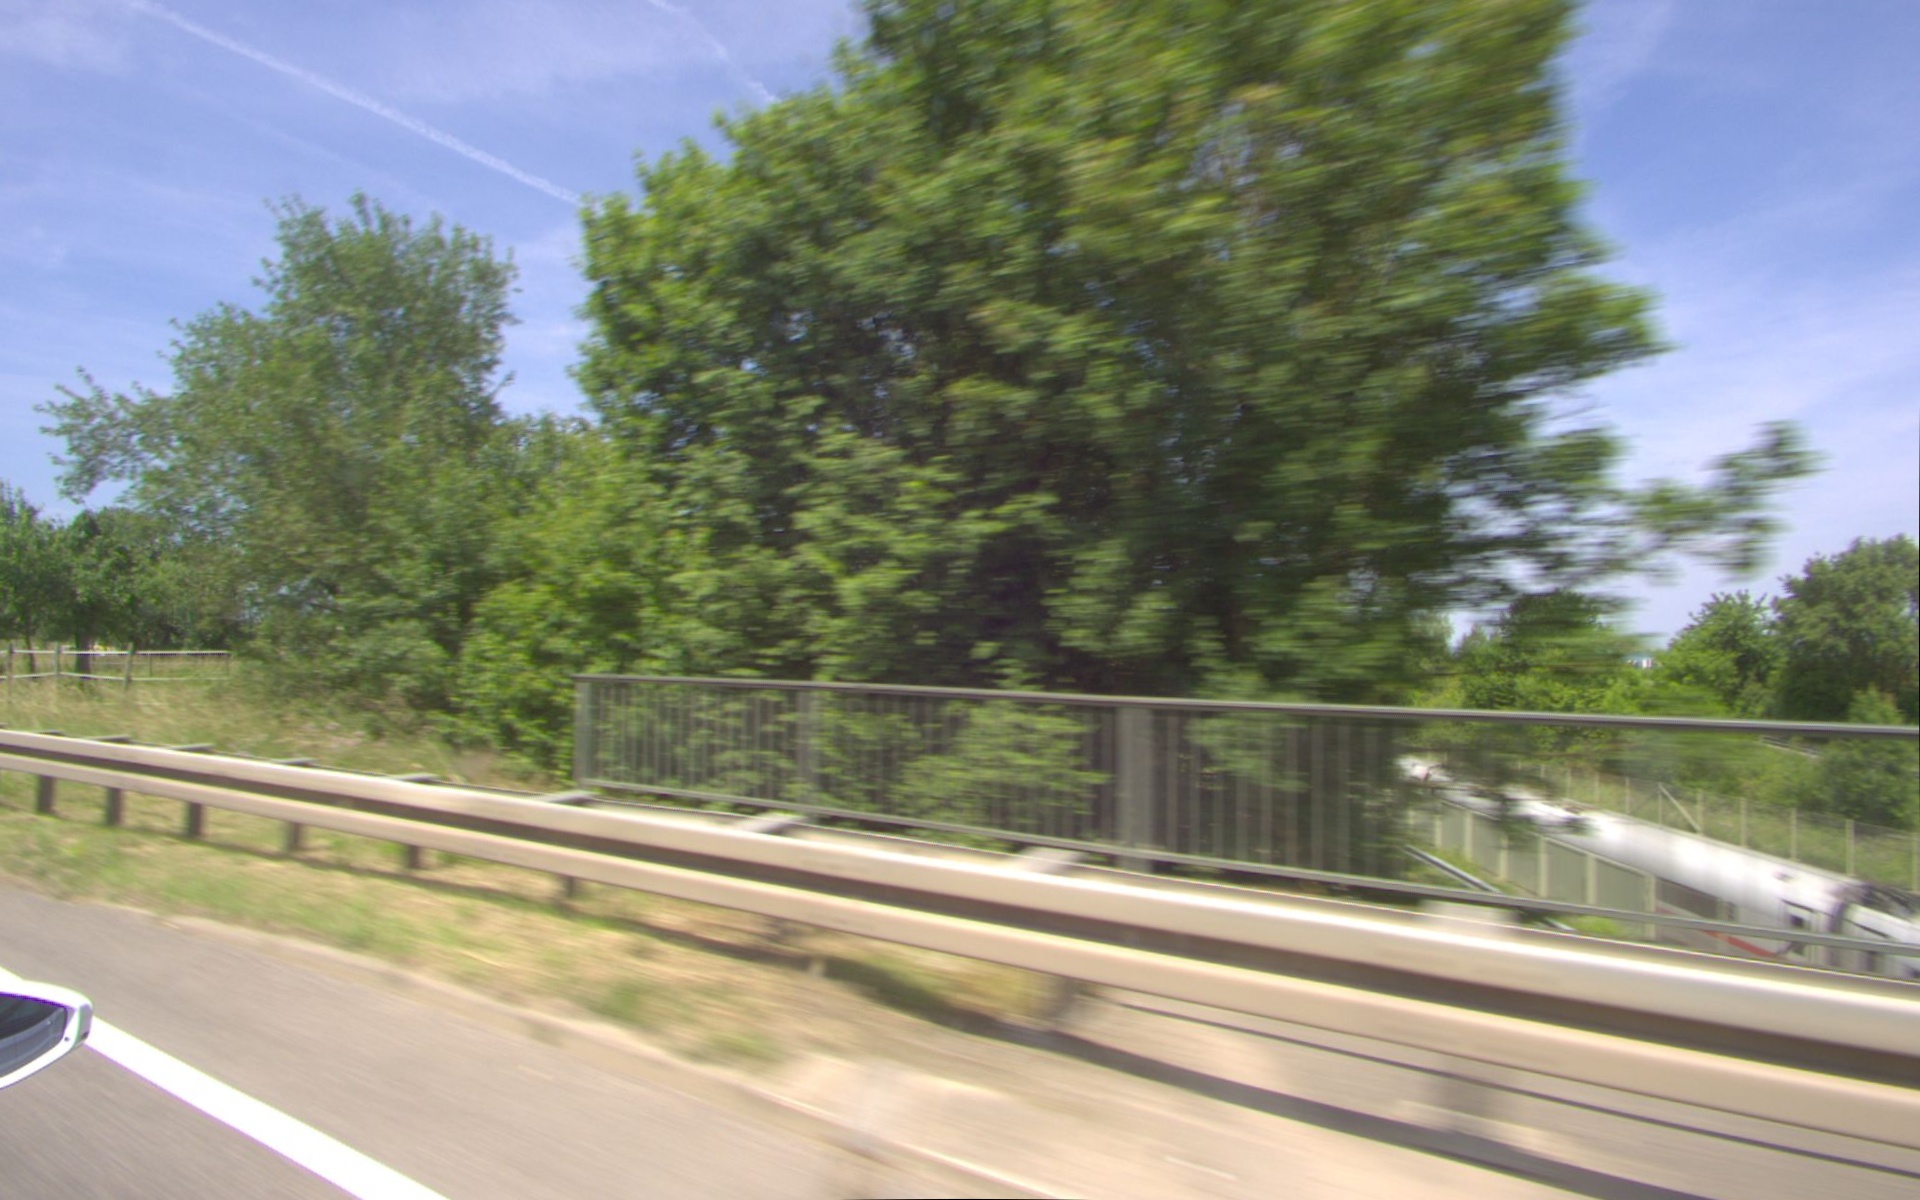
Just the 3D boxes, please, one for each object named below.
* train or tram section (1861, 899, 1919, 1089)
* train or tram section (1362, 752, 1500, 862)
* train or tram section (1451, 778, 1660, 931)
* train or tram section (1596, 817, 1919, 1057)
[{"bbox_3d":[24.945,9.827,20.400,2.504,4.283,12.461,1,-3,3],"label":"train or tram section"},{"bbox_3d":[26.766,11.608,57.818,2.504,4.283,12.461,1,-3,2],"label":"train or tram section"},{"bbox_3d":[26.311,11.053,45.343,2.504,4.283,12.461,1,-3,2],"label":"train or tram section"},{"bbox_3d":[25.702,10.328,32.887,2.504,4.283,12.461,1,-3,4],"label":"train or tram section"}]
